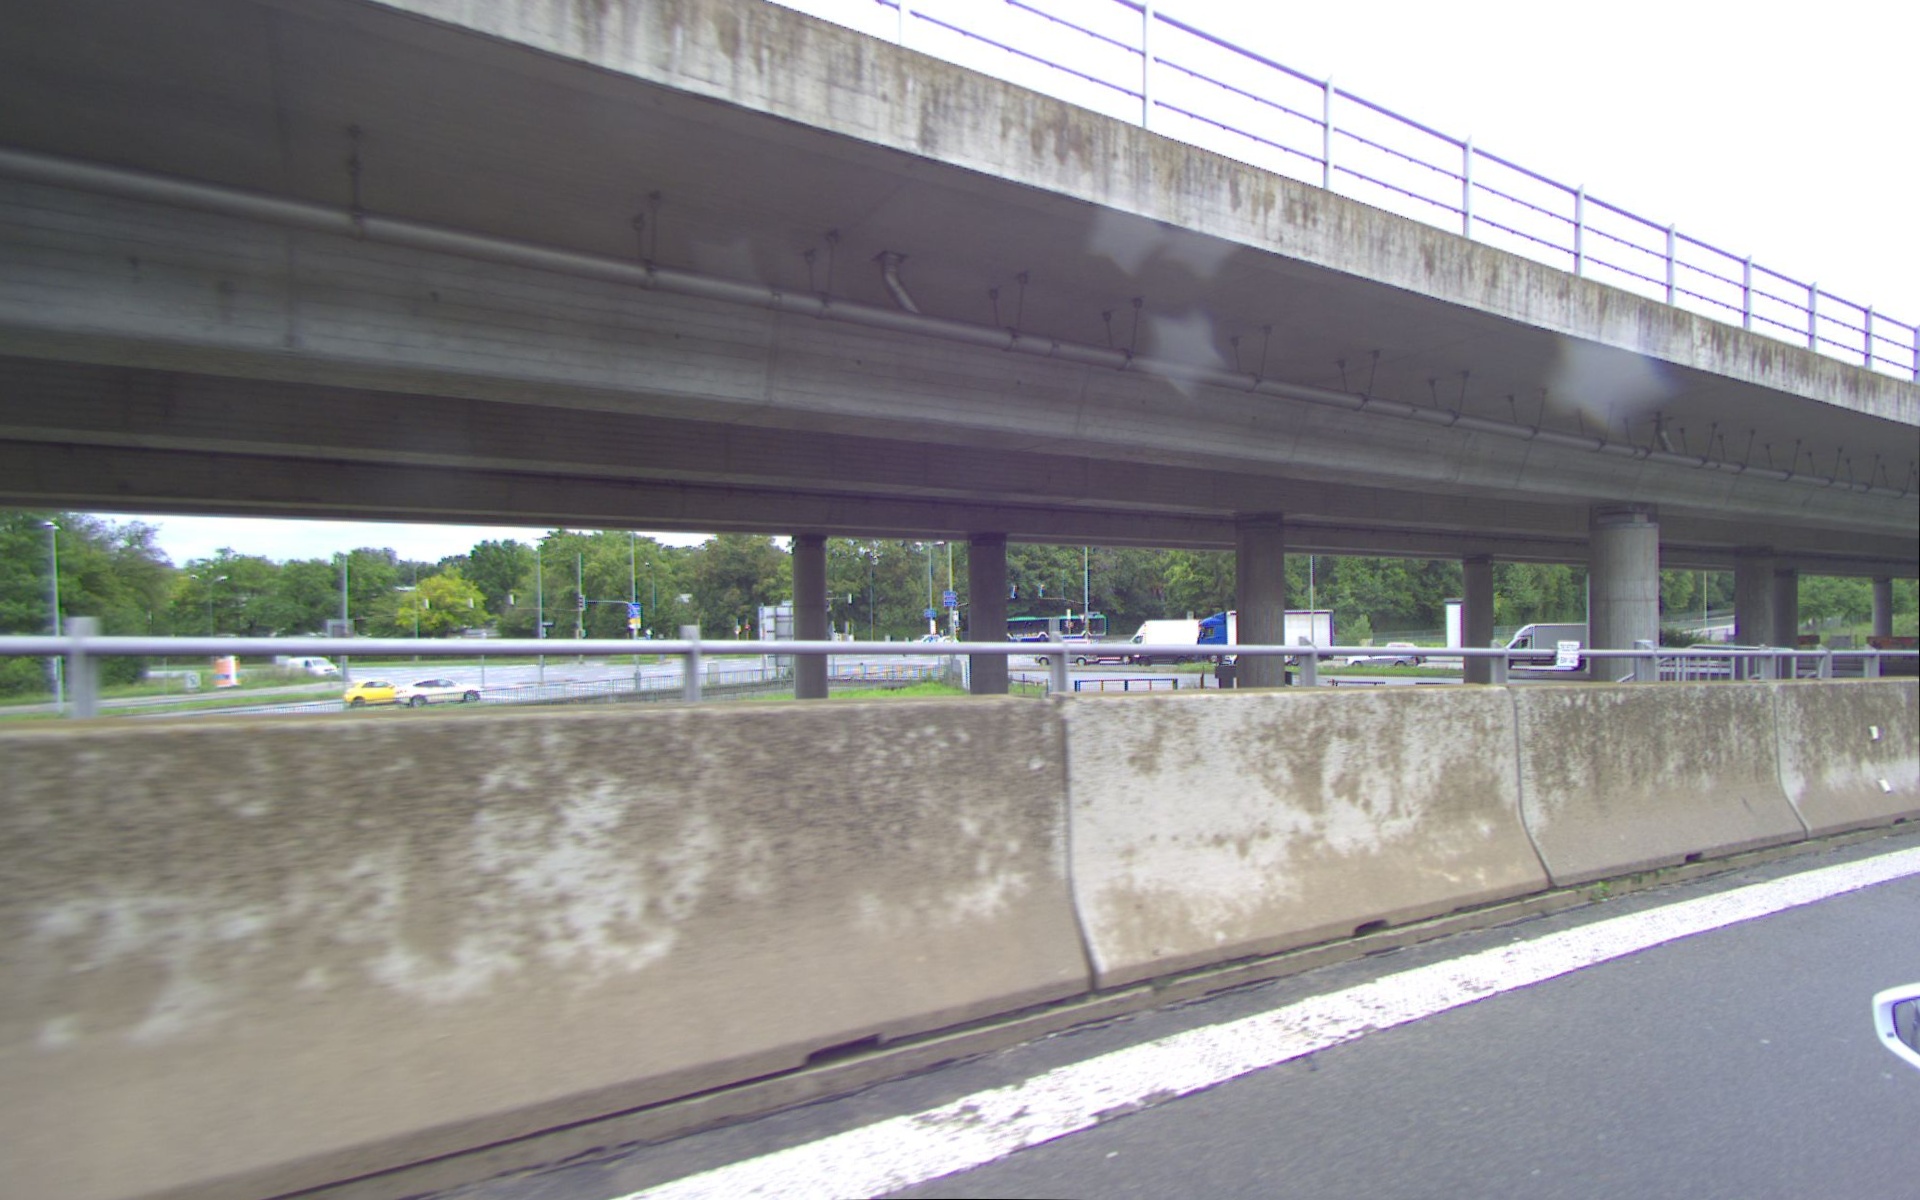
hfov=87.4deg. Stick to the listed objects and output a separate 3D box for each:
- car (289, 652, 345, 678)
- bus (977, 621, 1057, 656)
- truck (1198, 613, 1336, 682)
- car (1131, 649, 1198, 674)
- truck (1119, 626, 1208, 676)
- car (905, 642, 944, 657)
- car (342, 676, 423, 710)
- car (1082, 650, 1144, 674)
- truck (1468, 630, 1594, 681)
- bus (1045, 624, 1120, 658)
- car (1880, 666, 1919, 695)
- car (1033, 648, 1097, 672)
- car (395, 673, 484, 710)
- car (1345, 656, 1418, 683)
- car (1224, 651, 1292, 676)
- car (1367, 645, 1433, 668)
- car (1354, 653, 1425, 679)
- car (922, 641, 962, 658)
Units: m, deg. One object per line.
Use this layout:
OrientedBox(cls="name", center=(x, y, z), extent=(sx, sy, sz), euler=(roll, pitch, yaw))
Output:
OrientedBox(cls="car", center=(-56.953, 5.762, 88.962), extent=(4.471, 2.040, 1.999), euler=(1, -2, 25))
OrientedBox(cls="bus", center=(6.962, 4.652, 121.667), extent=(9.794, 3.750, 2.214), euler=(4, -1, -29))
OrientedBox(cls="truck", center=(22.653, 3.446, 74.216), extent=(9.416, 4.652, 2.799), euler=(1, -2, 23))
OrientedBox(cls="car", center=(15.033, 4.509, 73.785), extent=(4.501, 1.604, 1.975), euler=(1, -2, 21))
OrientedBox(cls="truck", center=(16.311, 4.035, 80.566), extent=(6.515, 3.728, 2.799), euler=(1, -2, 23))
OrientedBox(cls="car", center=(-3.840, 5.354, 108.503), extent=(3.966, 1.583, 1.779), euler=(2, -3, -39))
OrientedBox(cls="car", center=(-34.813, 5.577, 60.601), extent=(3.969, 1.640, 1.826), euler=(1, 2, -41))
OrientedBox(cls="car", center=(11.953, 4.841, 78.429), extent=(4.501, 1.627, 1.975), euler=(1, -2, 21))
OrientedBox(cls="truck", center=(38.223, 3.664, 67.471), extent=(7.096, 3.016, 2.259), euler=(2, -1, 25))
OrientedBox(cls="bus", center=(15.459, 5.186, 126.512), extent=(9.794, 3.750, 2.214), euler=(4, -1, -29))
OrientedBox(cls="car", center=(57.783, 4.814, 59.421), extent=(4.501, 1.604, 1.975), euler=(1, -2, 21))
OrientedBox(cls="car", center=(8.025, 4.554, 76.759), extent=(4.501, 1.627, 1.975), euler=(1, -2, 21))
OrientedBox(cls="car", center=(-30.740, 5.347, 59.373), extent=(4.332, 1.773, 1.788), euler=(1, 2, -41))
OrientedBox(cls="car", center=(28.623, 4.693, 68.369), extent=(4.501, 1.604, 1.975), euler=(1, -2, 21))
OrientedBox(cls="car", center=(21.211, 4.490, 71.568), extent=(4.501, 1.604, 1.975), euler=(1, -2, 21))
OrientedBox(cls="car", center=(33.513, 4.270, 76.558), extent=(4.504, 1.604, 1.974), euler=(1, -2, 24))
OrientedBox(cls="car", center=(30.196, 4.611, 70.664), extent=(4.503, 1.604, 1.975), euler=(1, -2, 23))
OrientedBox(cls="car", center=(-1.840, 5.240, 105.684), extent=(3.966, 1.728, 1.779), euler=(2, -3, -39))
